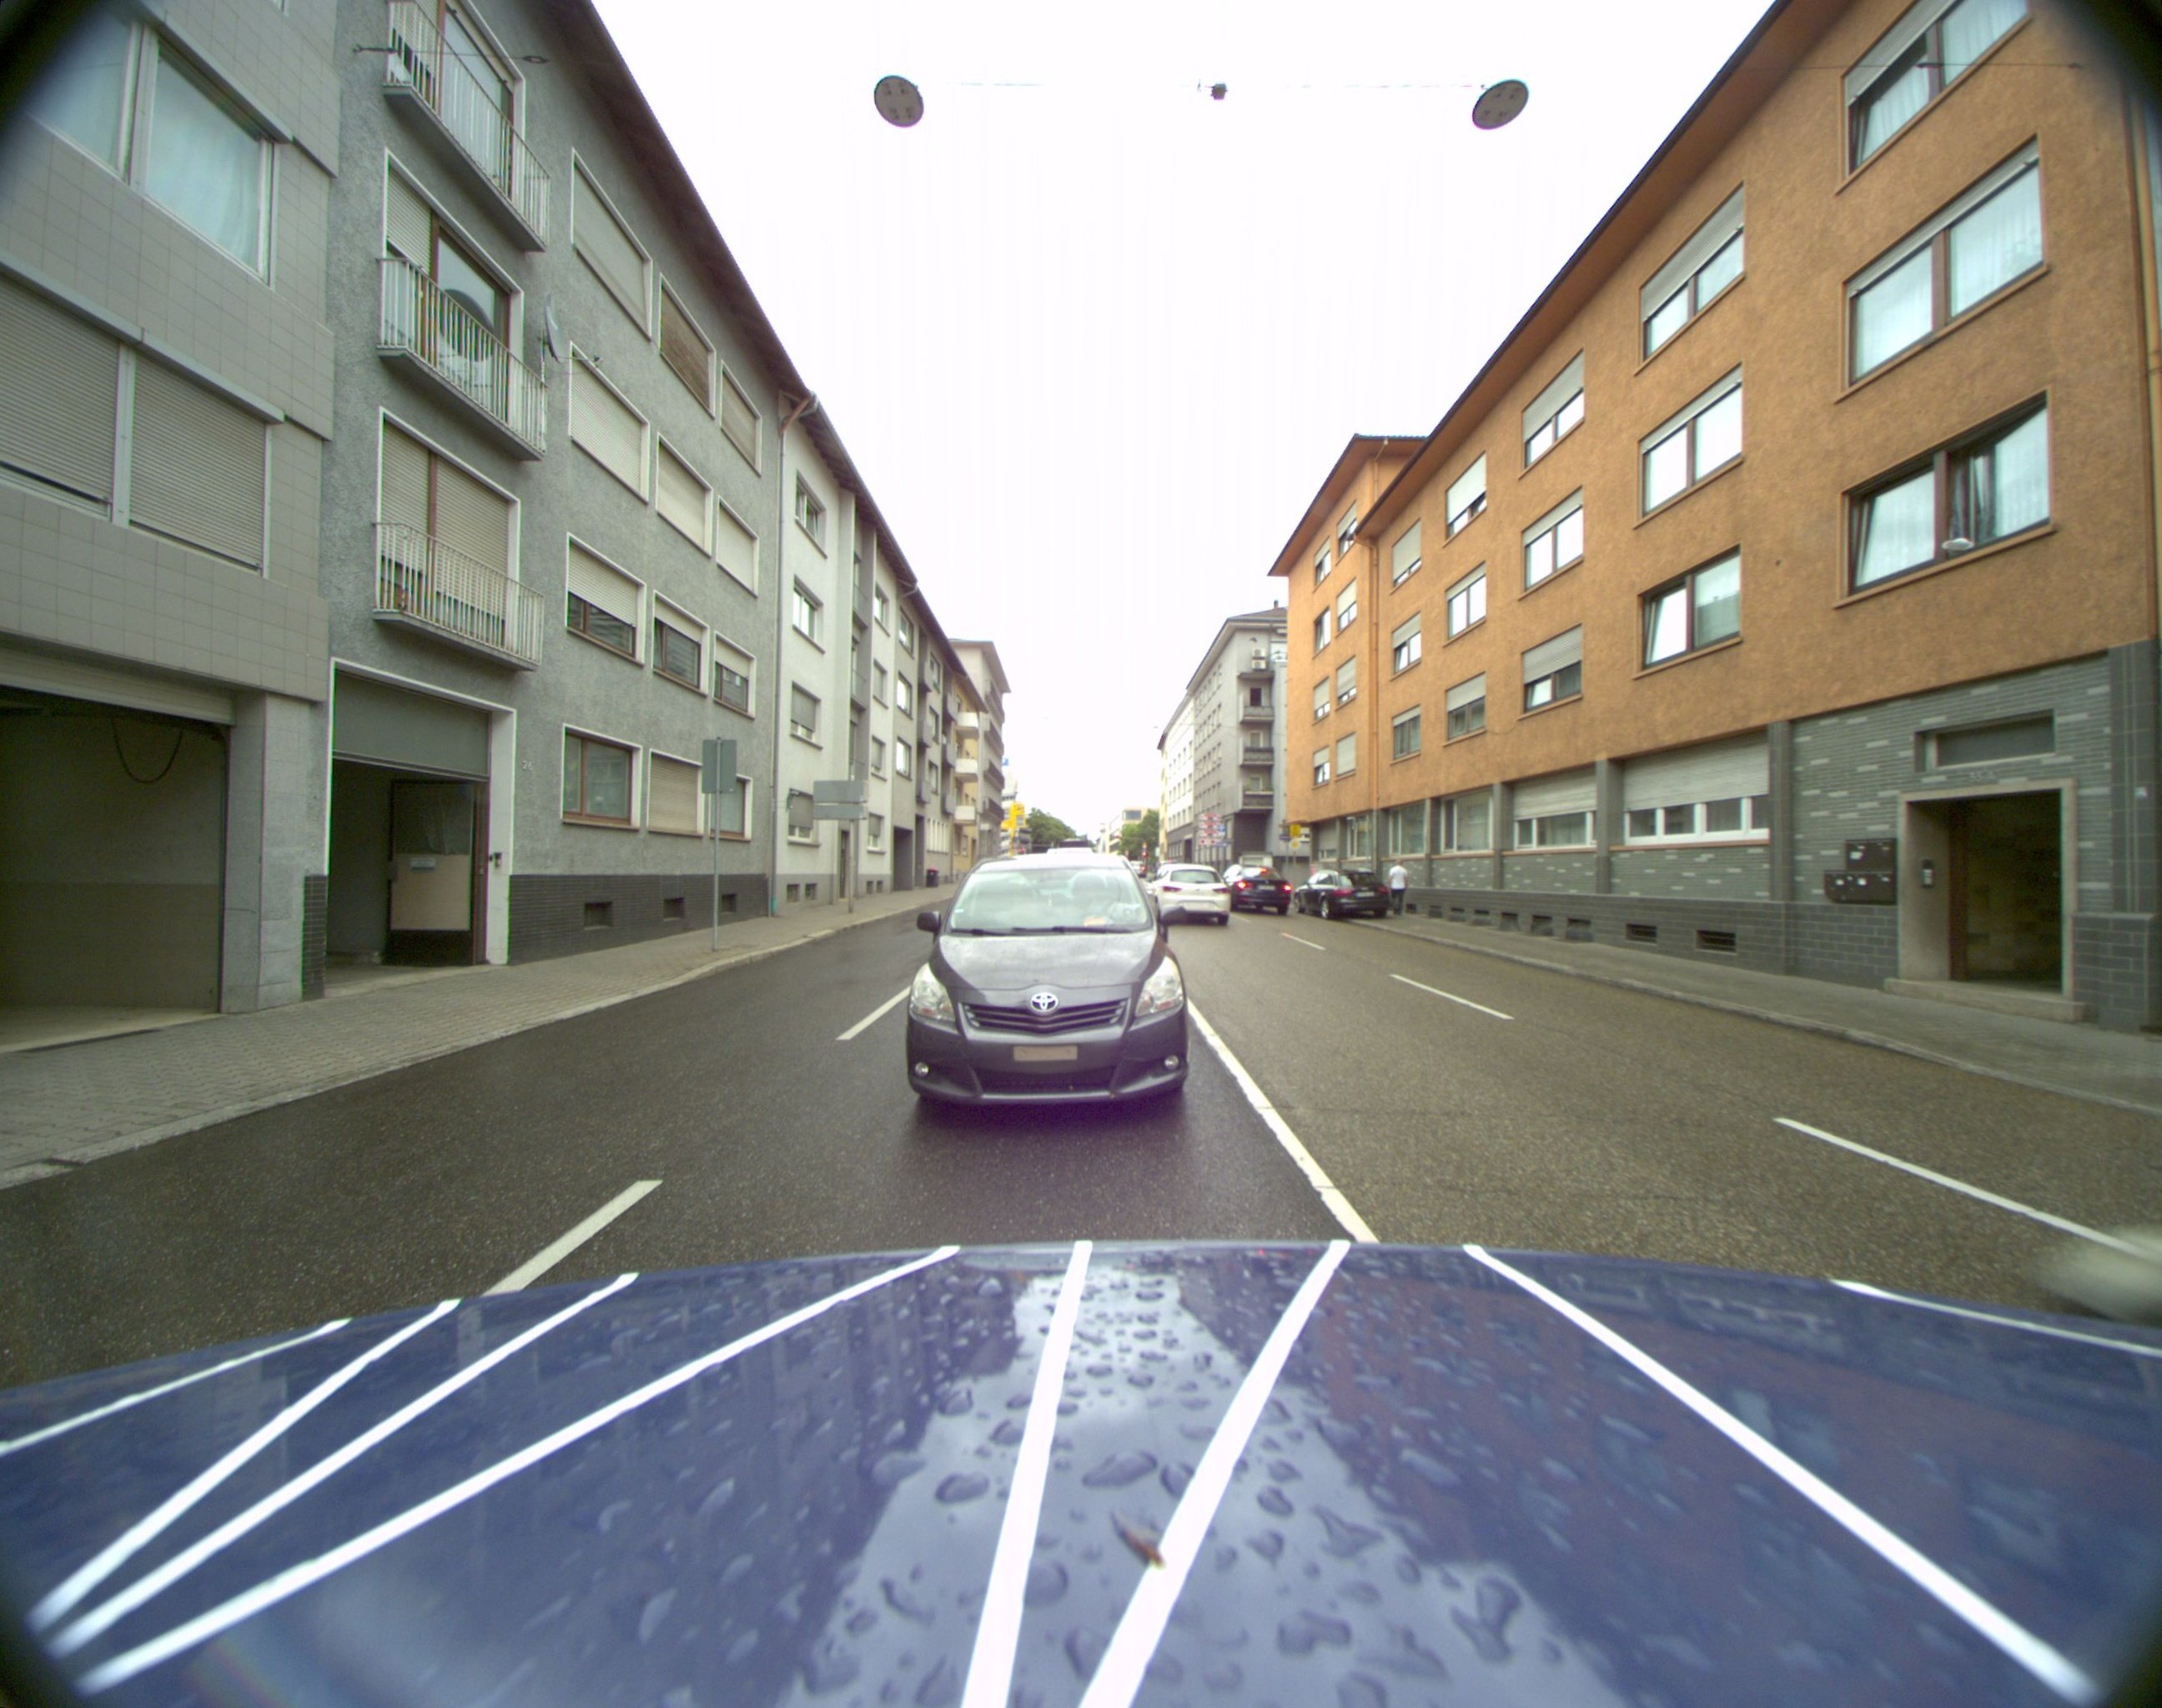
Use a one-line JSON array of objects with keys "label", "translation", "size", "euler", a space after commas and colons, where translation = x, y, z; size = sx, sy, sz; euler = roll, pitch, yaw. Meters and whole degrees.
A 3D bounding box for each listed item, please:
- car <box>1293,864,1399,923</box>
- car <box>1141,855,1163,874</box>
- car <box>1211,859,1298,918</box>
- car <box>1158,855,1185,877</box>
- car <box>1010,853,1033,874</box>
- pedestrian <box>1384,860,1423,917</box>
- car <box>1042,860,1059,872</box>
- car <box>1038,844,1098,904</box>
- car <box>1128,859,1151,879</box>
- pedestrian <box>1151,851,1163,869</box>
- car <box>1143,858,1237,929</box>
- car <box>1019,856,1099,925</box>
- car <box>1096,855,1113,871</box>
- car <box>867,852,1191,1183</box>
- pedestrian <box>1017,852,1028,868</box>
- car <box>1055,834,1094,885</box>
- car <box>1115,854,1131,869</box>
[{"label": "car", "translation": [8.043, 1.142, 23.459], "size": [1.799, 1.466, 4.217], "euler": [-2, 1, 1]}, {"label": "car", "translation": [7.257, 1.059, 77.675], "size": [1.856, 1.712, 4.217], "euler": [-2, 1, 1]}, {"label": "car", "translation": [5.553, 1.044, 24.826], "size": [1.699, 1.530, 4.435], "euler": [4, 1, 0]}, {"label": "car", "translation": [7.816, 0.988, 65.751], "size": [1.856, 1.712, 4.217], "euler": [-2, 1, 1]}, {"label": "car", "translation": [-5.130, 0.780, 65.885], "size": [1.856, 1.663, 4.215], "euler": [-2, 1, -4]}, {"label": "pedestrian", "translation": [9.636, 1.017, 22.721], "size": [0.768, 1.630, 1.023], "euler": [-2, 1, 5]}, {"label": "car", "translation": [-3.916, 1.577, 97.701], "size": [1.856, 1.369, 4.217], "euler": [-2, 1, 1]}, {"label": "car", "translation": [-0.397, 0.629, 26.600], "size": [1.856, 1.882, 4.217], "euler": [-2, 1, 1]}, {"label": "car", "translation": [5.454, 1.360, 71.657], "size": [1.856, 1.651, 4.610], "euler": [-2, 1, 1]}, {"label": "pedestrian", "translation": [8.974, 0.697, 89.692], "size": [1.309, 2.002, 1.258], "euler": [-2, 1, 1]}, {"label": "car", "translation": [2.686, 0.922, 19.544], "size": [1.749, 1.530, 4.052], "euler": [2, 1, -1]}, {"label": "car", "translation": [-0.506, 0.886, 20.095], "size": [1.856, 1.524, 3.792], "euler": [-2, 1, 1]}, {"label": "car", "translation": [2.845, 1.058, 92.785], "size": [1.856, 1.712, 4.217], "euler": [-2, 1, 1]}, {"label": "car", "translation": [-0.253, 0.895, 6.251], "size": [1.699, 1.712, 4.217], "euler": [-2, 1, 1]}, {"label": "pedestrian", "translation": [-6.575, 0.678, 85.380], "size": [1.119, 1.741, 0.961], "euler": [1, 1, -5]}, {"label": "car", "translation": [-0.331, 0.290, 43.643], "size": [2.033, 2.731, 4.368], "euler": [-2, 1, 1]}, {"label": "car", "translation": [5.355, 0.910, 97.363], "size": [1.856, 1.712, 4.217], "euler": [-2, 1, 1]}]
